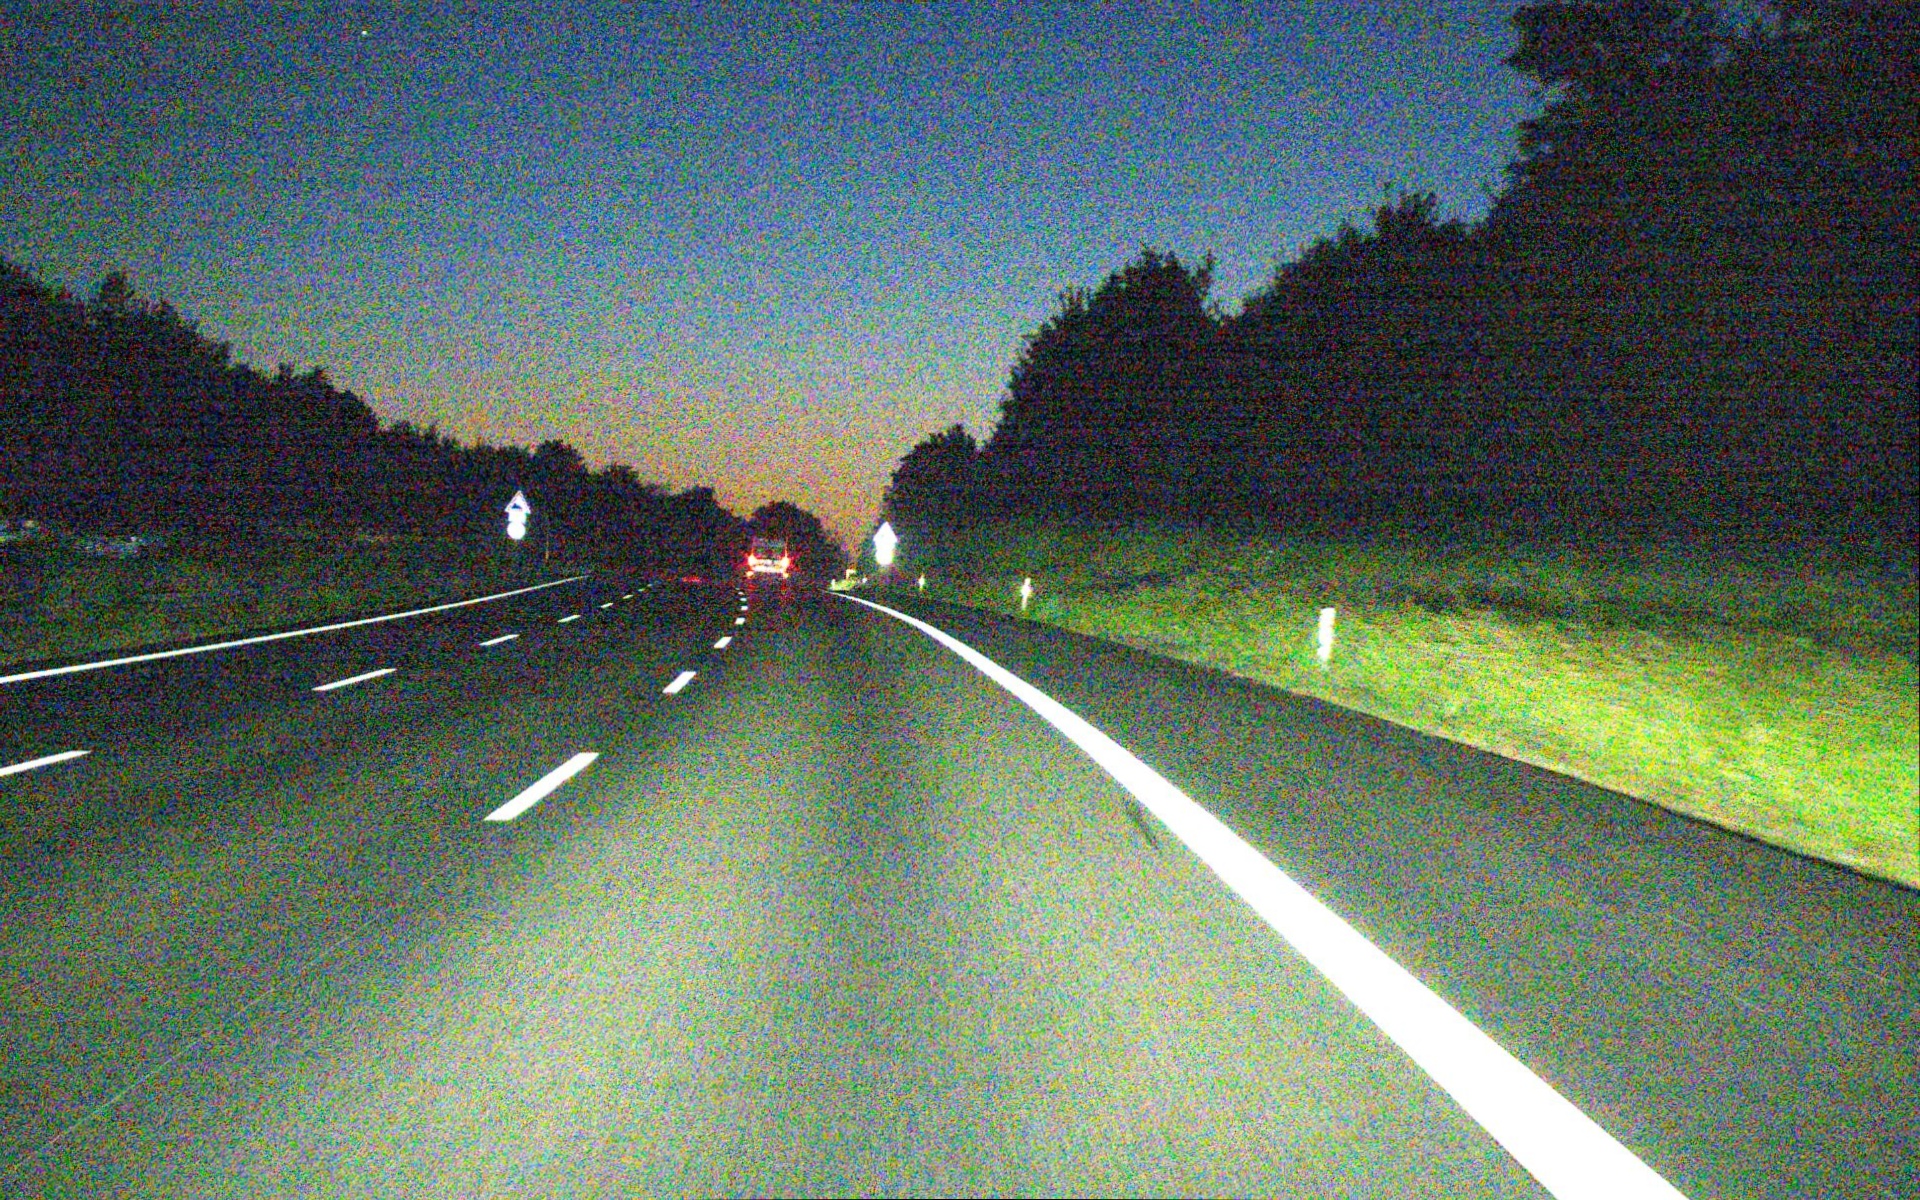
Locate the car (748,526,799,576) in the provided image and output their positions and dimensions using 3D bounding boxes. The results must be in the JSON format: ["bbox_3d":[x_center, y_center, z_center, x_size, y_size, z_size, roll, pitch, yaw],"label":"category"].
[{"bbox_3d":[-10.158,-2.654,187.512,2.527,2.544,6.051,3,0,-2],"label":"car"}]
